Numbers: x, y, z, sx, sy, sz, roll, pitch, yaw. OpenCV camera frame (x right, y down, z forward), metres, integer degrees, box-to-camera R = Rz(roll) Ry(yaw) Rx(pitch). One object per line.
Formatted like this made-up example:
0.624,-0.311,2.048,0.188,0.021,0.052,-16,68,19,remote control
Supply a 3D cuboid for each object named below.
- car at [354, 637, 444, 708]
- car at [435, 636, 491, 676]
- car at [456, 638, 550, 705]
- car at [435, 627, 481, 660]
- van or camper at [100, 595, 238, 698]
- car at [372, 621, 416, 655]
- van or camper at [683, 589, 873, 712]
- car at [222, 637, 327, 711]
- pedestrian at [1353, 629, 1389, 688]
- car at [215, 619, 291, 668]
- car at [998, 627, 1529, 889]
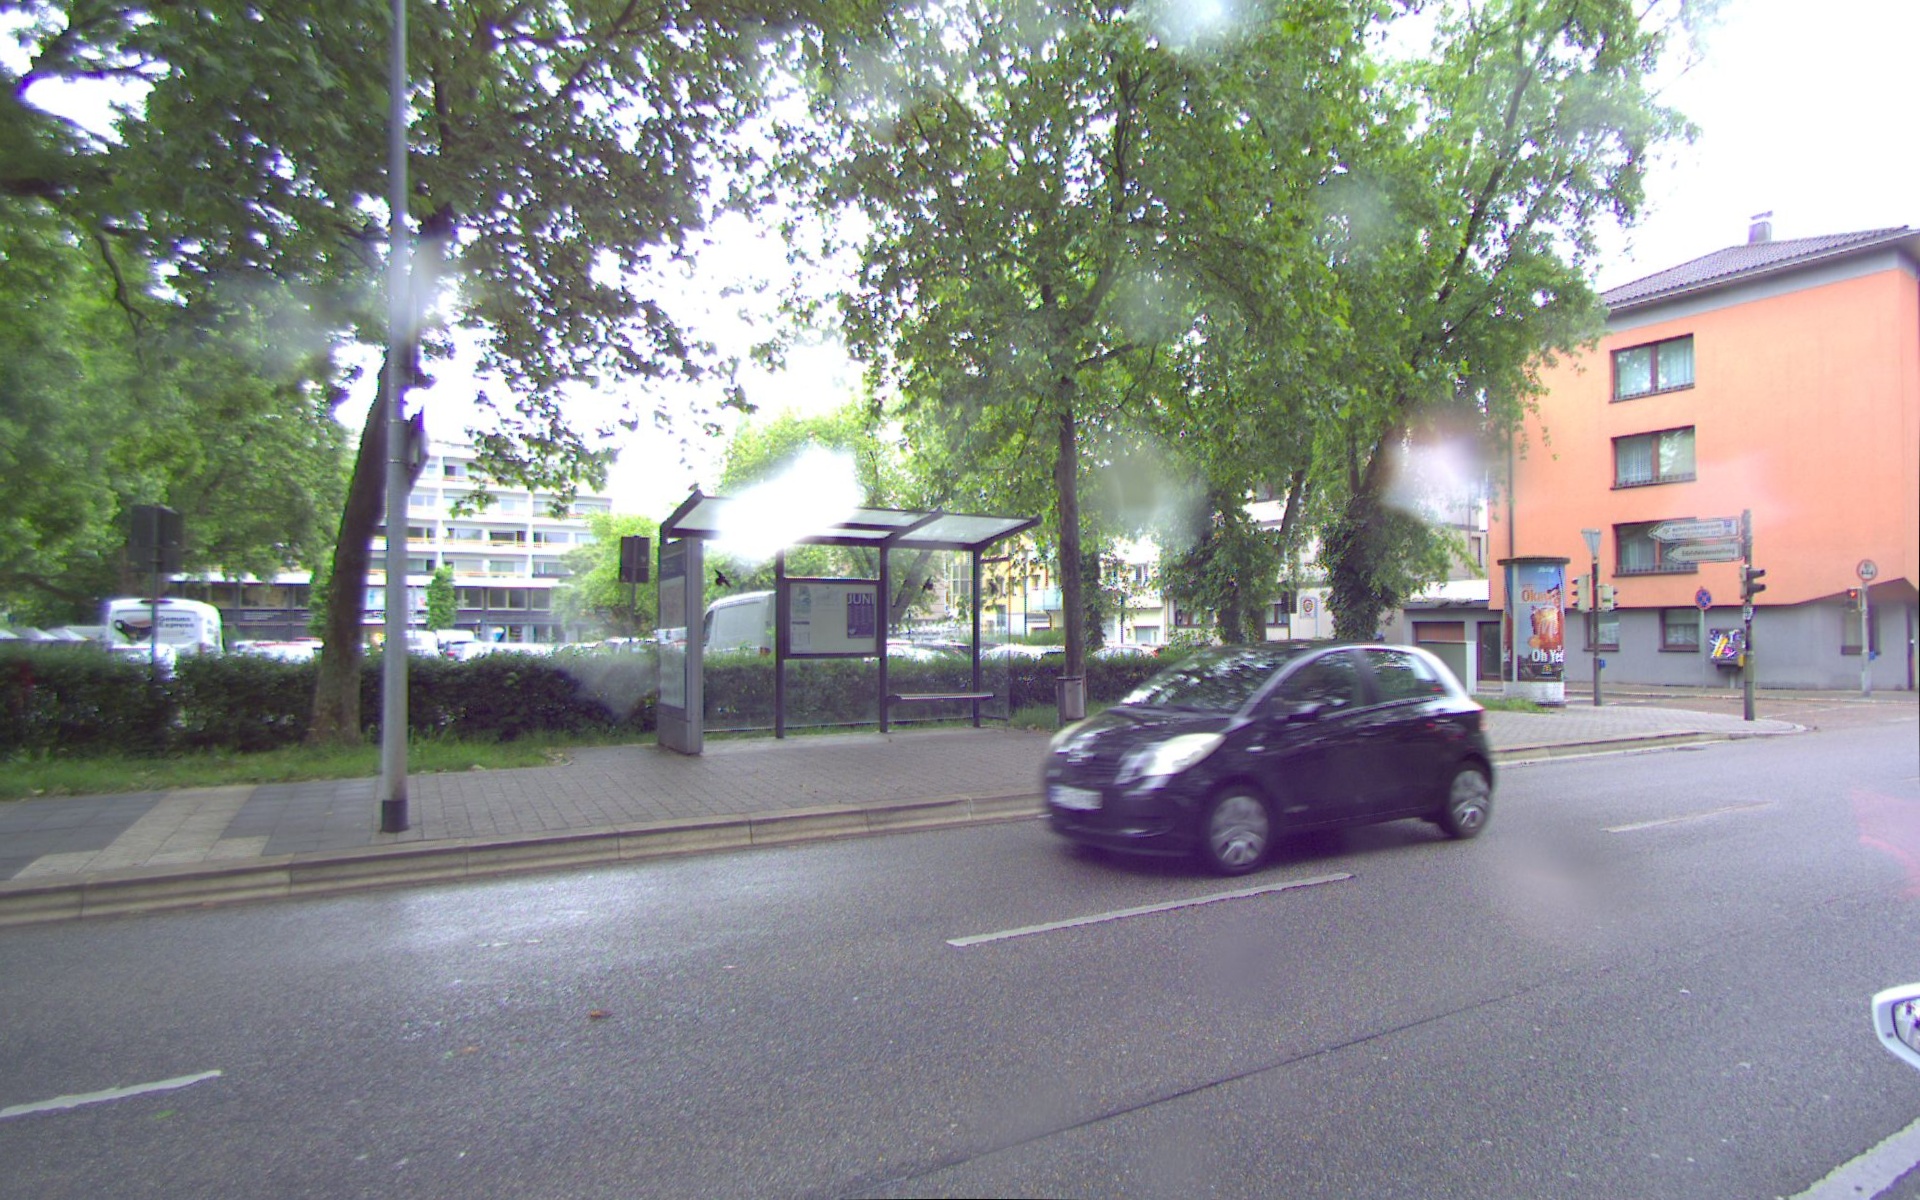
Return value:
-14.627,1.824,26.109,1.876,1.506,3.966,2,0,-31,car
-22.130,2.453,44.680,1.876,1.506,3.966,2,0,-31,car
-12.533,1.888,27.401,1.876,1.506,3.966,2,0,-31,car
-26.989,2.309,53.933,1.876,1.506,3.966,2,0,-31,car
-20.673,1.203,26.462,2.073,2.463,4.310,1,-2,-28,van or camper
-32.500,2.144,57.603,2.075,1.745,3.966,2,0,-31,car
-3.504,0.896,18.616,1.978,1.975,4.572,1,-2,-31,van or camper
-16.876,1.756,24.891,1.876,1.506,3.966,2,0,-31,car
11.310,1.595,27.642,0.750,1.533,0.834,2,0,13,pedestrian
-25.072,1.512,35.729,1.876,1.506,3.966,2,0,-31,car
2.374,1.012,7.729,3.821,1.553,1.788,1,-3,-30,car
